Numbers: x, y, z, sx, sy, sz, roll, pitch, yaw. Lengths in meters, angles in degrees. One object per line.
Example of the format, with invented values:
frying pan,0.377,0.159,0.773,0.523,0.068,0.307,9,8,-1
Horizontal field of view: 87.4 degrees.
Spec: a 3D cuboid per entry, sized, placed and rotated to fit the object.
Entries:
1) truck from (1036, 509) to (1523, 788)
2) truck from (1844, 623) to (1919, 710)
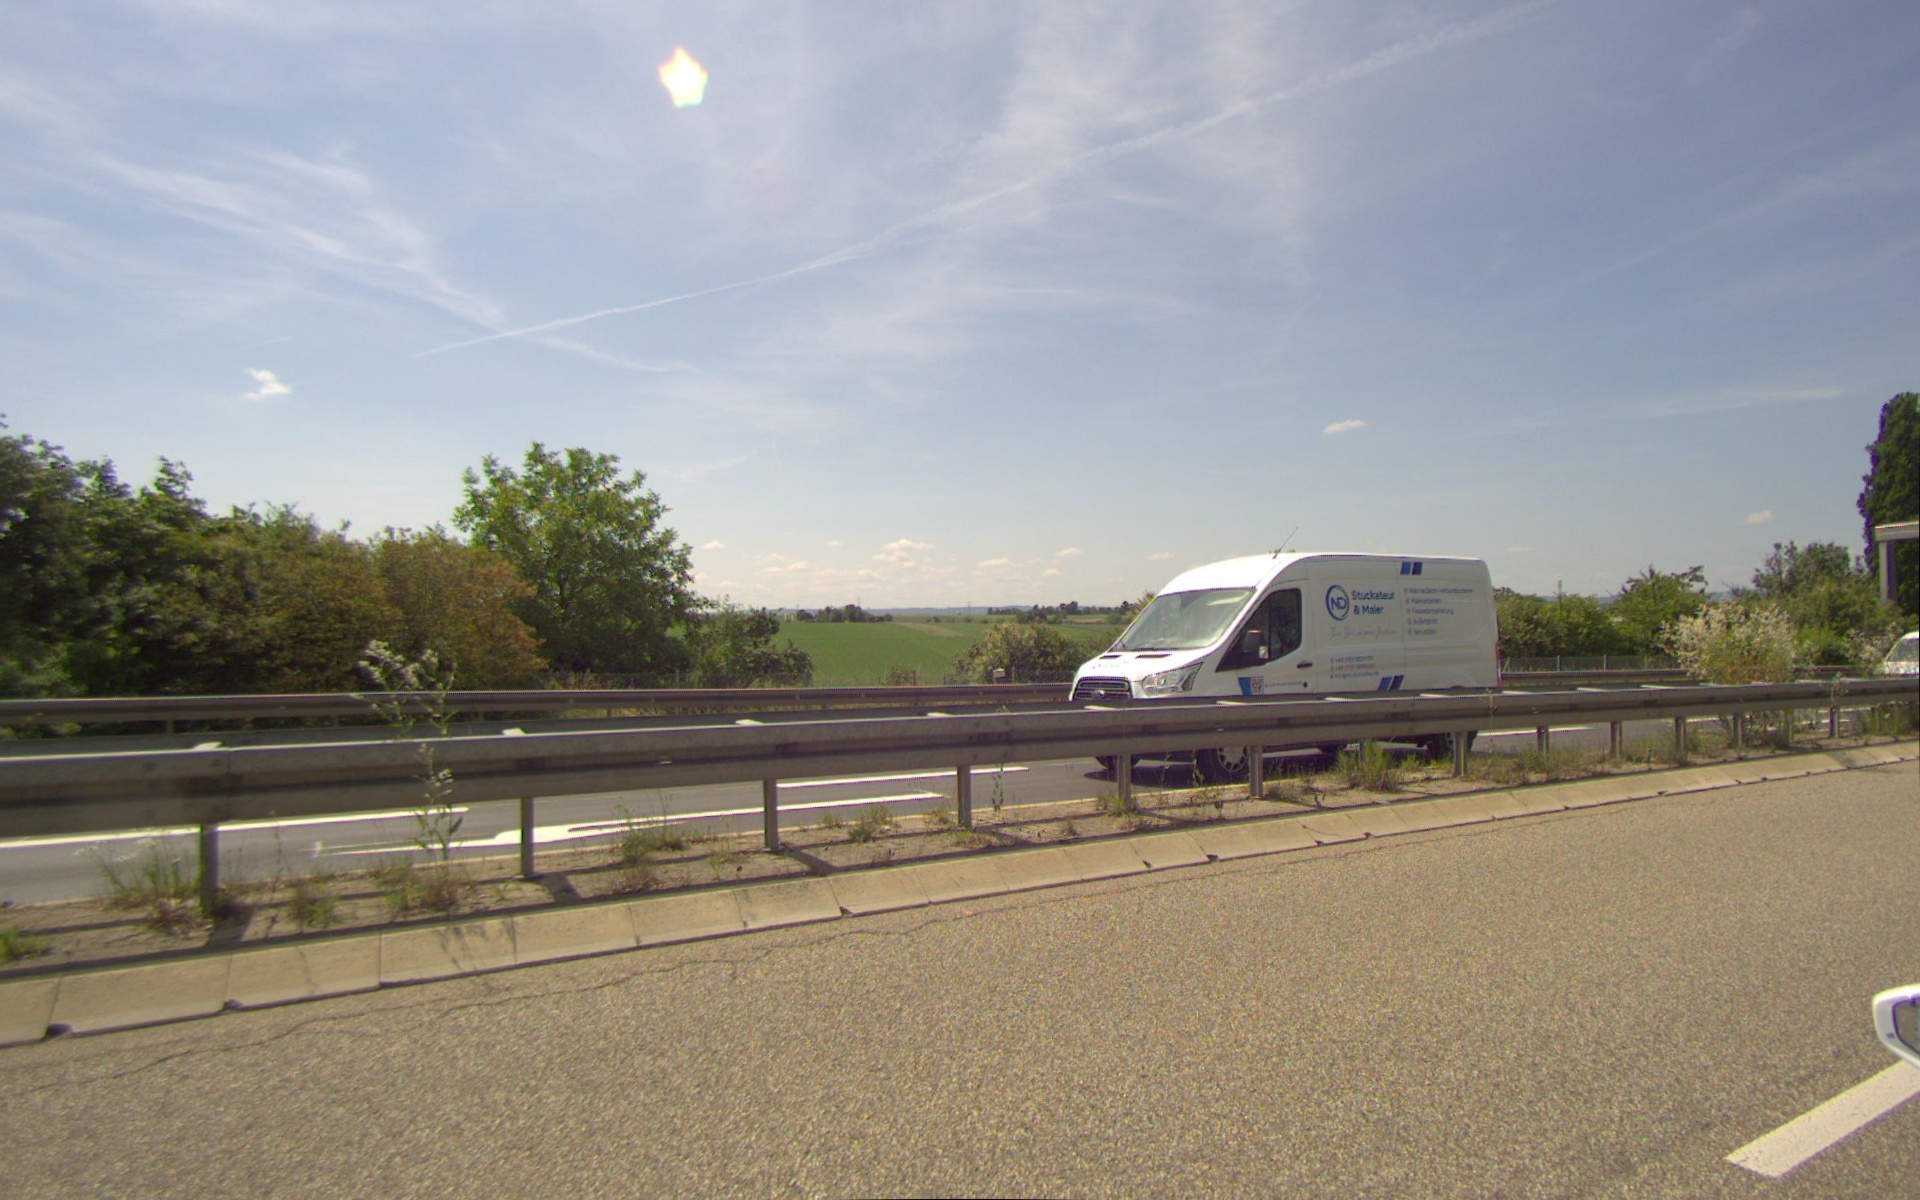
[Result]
truck,3.932,0.575,11.938,5.949,2.654,2.031,1,-4,-30
truck,21.360,1.451,21.763,4.482,1.771,1.842,2,-5,-29
